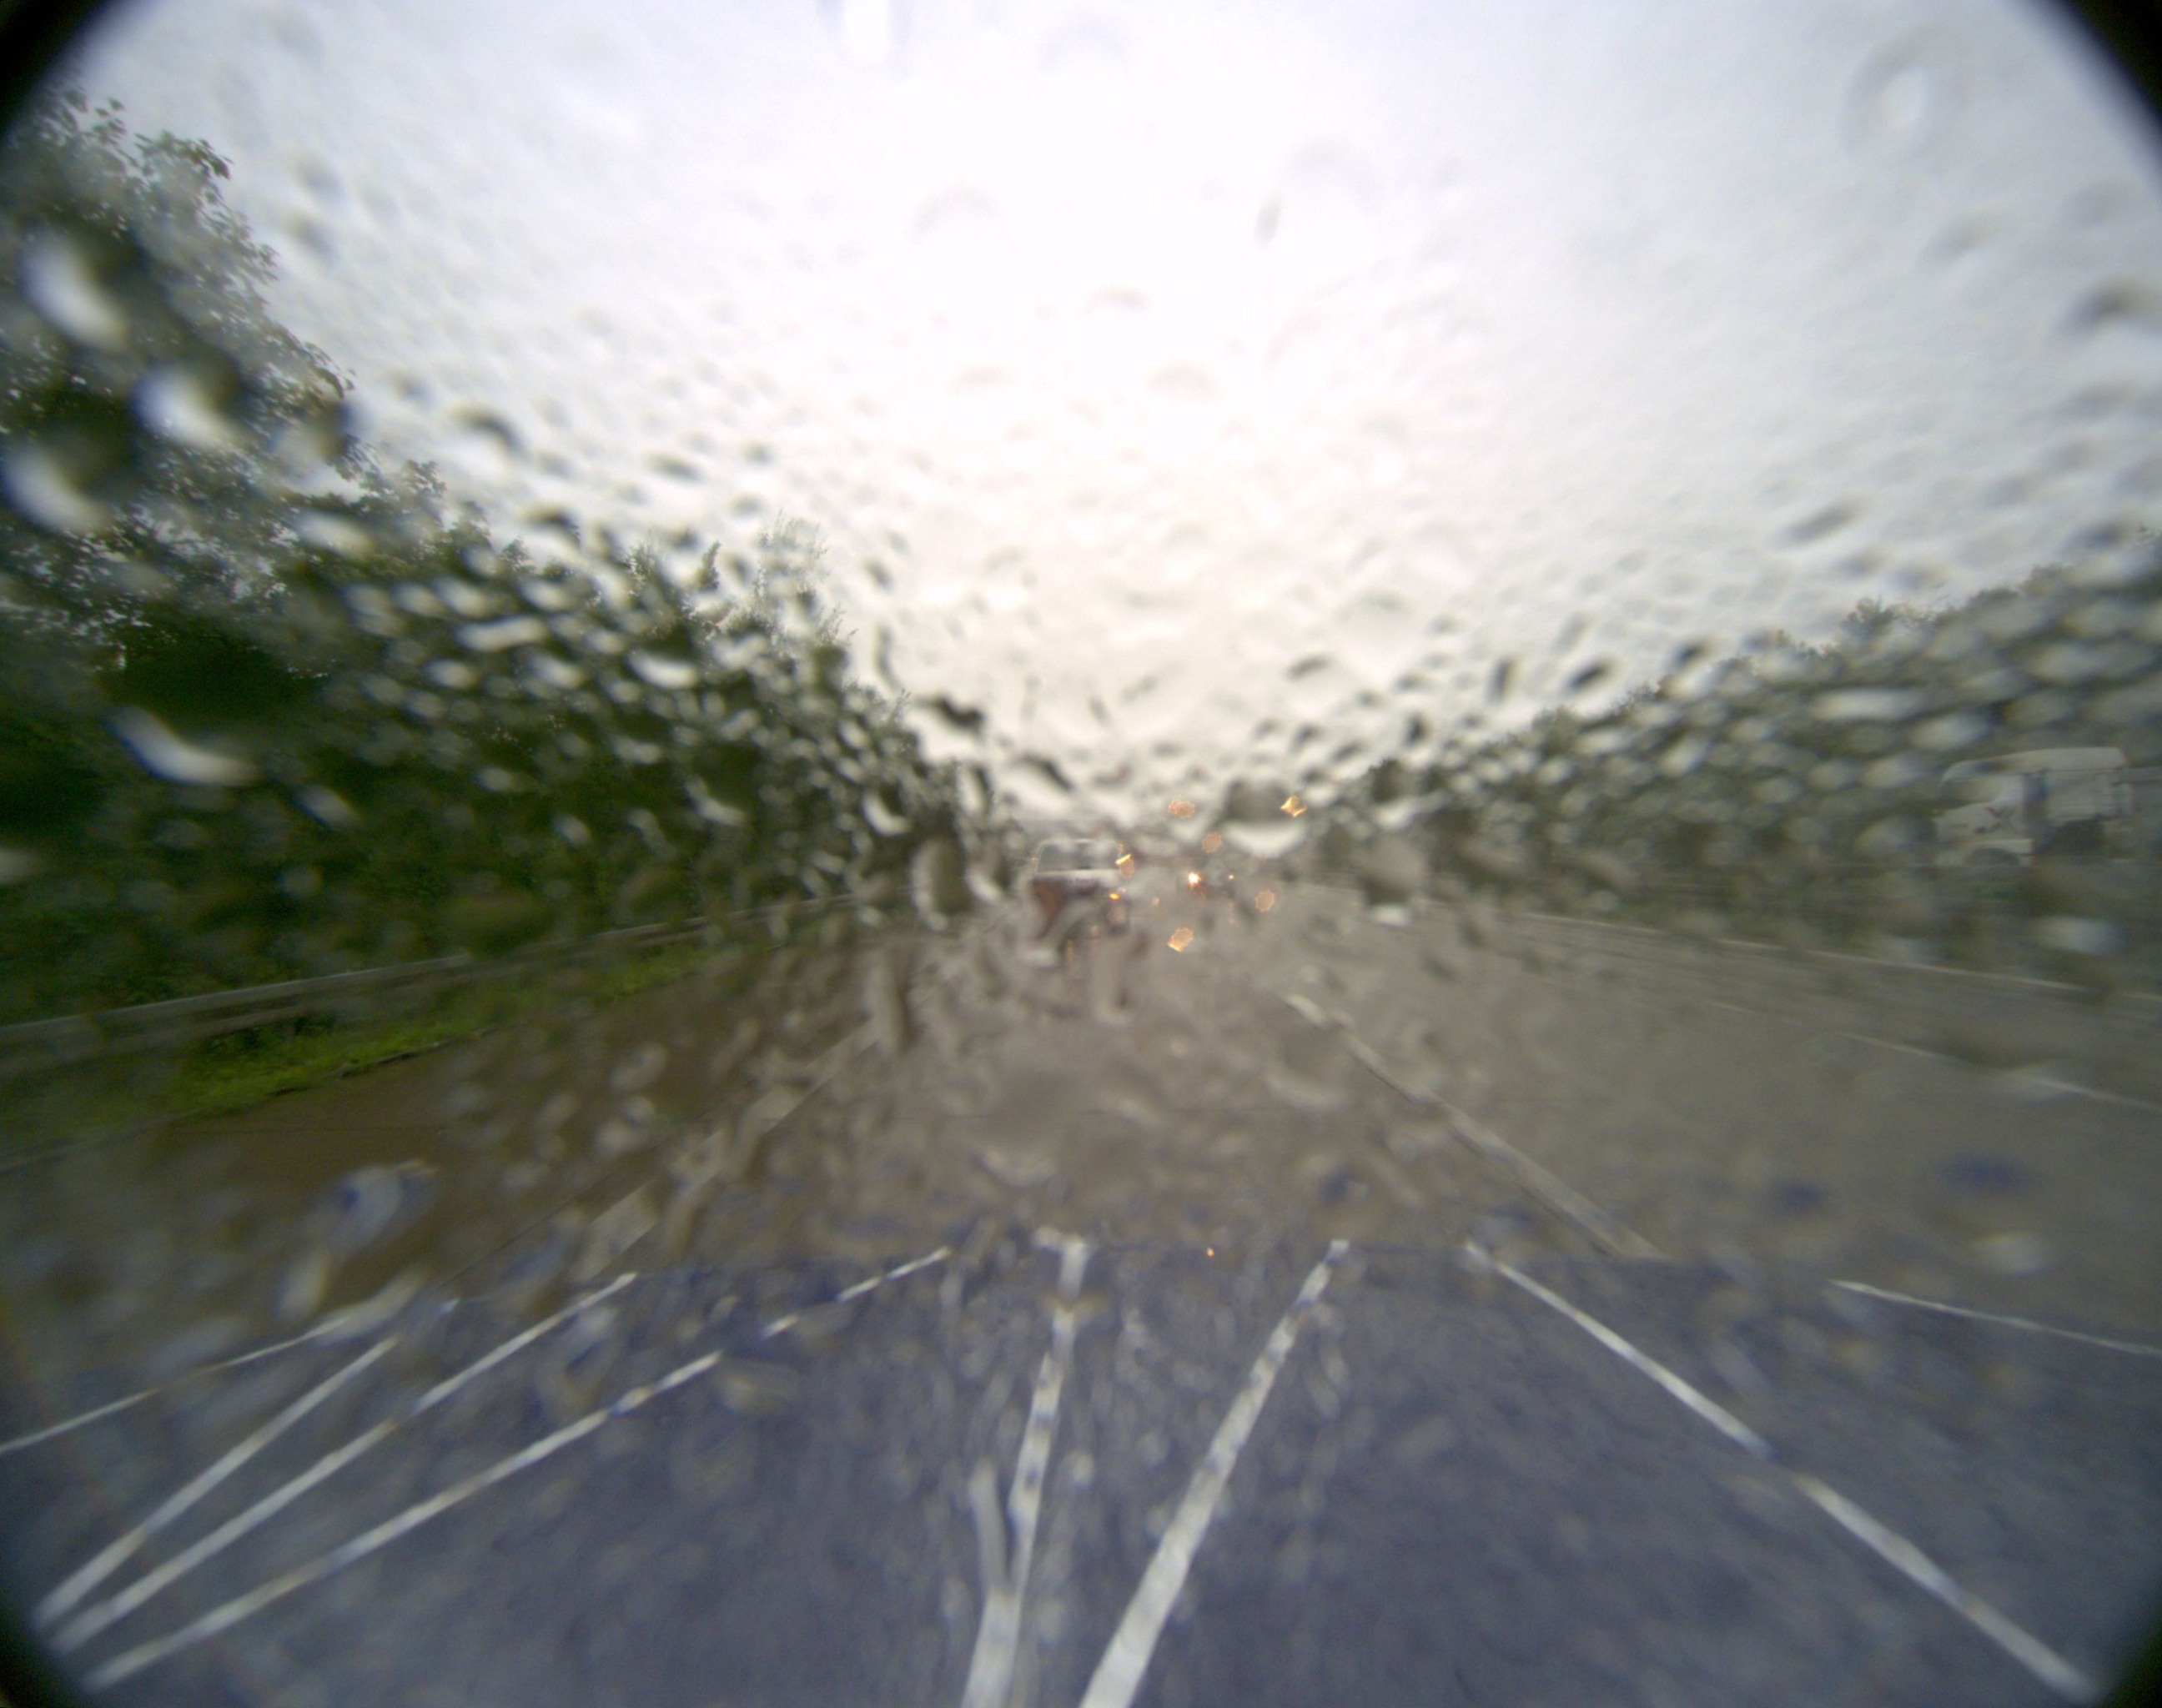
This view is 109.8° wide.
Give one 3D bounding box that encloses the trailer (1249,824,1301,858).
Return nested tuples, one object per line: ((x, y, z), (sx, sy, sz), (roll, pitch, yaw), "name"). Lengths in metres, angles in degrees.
((23.920, -1.581, 94.315), (3.144, 3.834, 12.869), (-2, 0, 0), "trailer")

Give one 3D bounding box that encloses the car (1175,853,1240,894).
((4.746, 0.688, 29.066), (1.745, 1.380, 4.320), (0, 1, -1), "car")

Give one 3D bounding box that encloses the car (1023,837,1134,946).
((0.005, 0.664, 16.159), (1.904, 1.883, 5.043), (-3, 0, 1), "car")

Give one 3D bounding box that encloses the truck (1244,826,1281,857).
((23.958, -1.659, 100.760), (3.144, 3.834, 6.886), (-2, 0, 0), "truck")

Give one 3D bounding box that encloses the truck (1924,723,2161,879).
((24.152, -1.172, 14.763), (2.781, 3.296, 11.515), (-3, 0, 1), "truck")

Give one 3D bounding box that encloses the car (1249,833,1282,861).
((20.474, -0.745, 84.613), (2.094, 2.883, 6.533), (-3, 0, 0), "car")

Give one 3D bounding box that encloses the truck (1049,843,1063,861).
((-5.941, -0.434, 178.333), (3.059, 3.994, 10.041), (1, -2, -3), "truck")

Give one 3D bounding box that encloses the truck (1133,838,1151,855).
((17.059, -2.042, 213.309), (3.132, 4.220, 13.538), (-3, 0, -2), "truck")

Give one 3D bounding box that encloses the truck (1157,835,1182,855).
((20.031, -1.905, 172.614), (3.132, 4.220, 16.368), (-3, 0, -1), "truck")
